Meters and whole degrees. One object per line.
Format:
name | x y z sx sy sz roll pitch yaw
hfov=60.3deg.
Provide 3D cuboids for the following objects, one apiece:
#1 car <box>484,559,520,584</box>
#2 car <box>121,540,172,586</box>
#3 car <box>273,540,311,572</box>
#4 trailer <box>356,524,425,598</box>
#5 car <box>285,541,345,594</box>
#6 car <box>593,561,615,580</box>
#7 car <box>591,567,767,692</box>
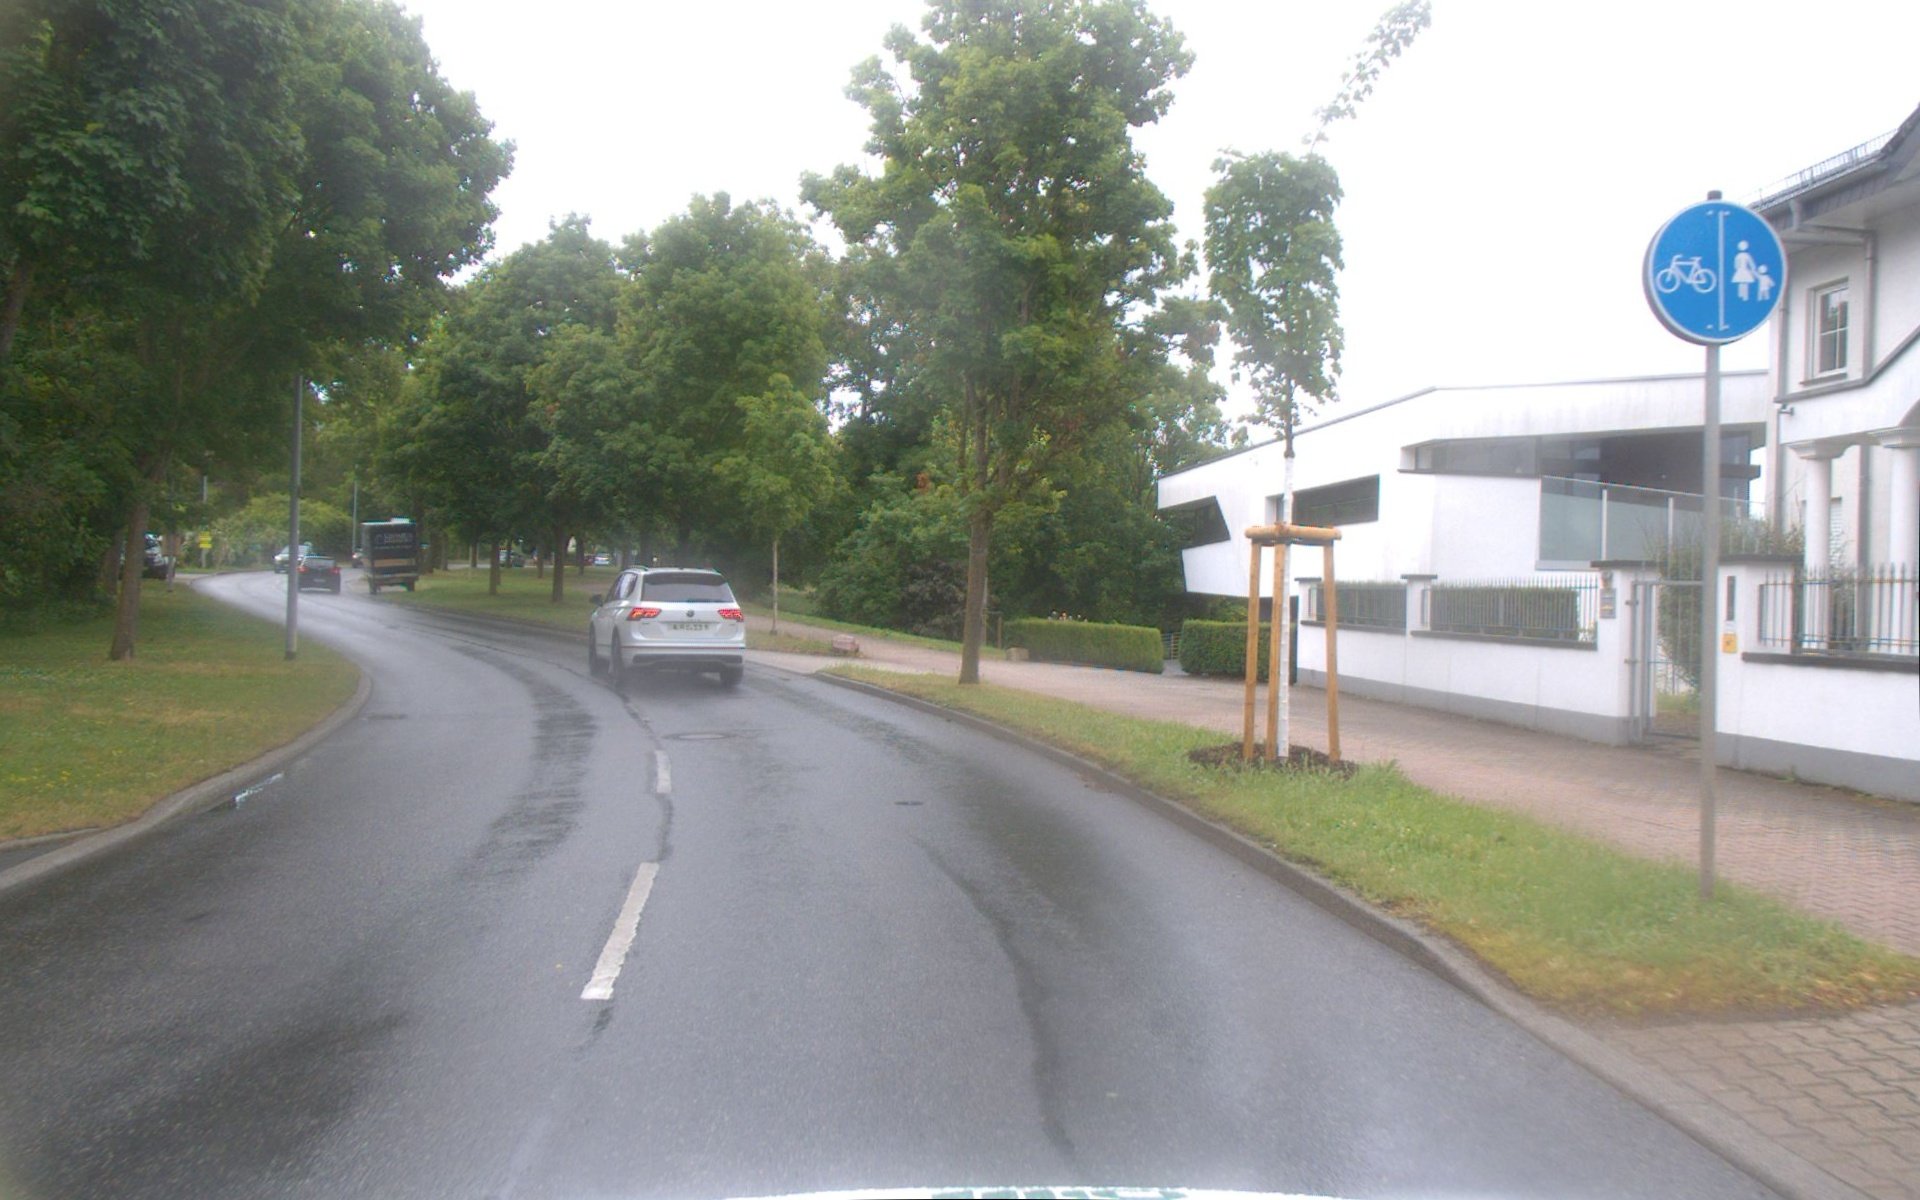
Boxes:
car | -37.216 -2.276 134.456 1.955 1.836 3.996 4 -1 -5
car | -32.994 -1.499 67.061 1.729 1.669 4.553 4 -1 -27
car | -37.872 -2.509 93.710 1.766 1.563 4.062 4 1 -25
trailer | -23.763 -1.659 68.879 1.969 2.856 5.564 -4 4 -25
car | -26.946 -1.347 69.035 1.878 2.048 3.910 4 -1 -27
car | -37.751 -3.142 175.465 1.956 1.839 3.992 4 -1 -8
car | -4.245 0.371 24.480 1.944 1.681 4.154 0 1 -19
